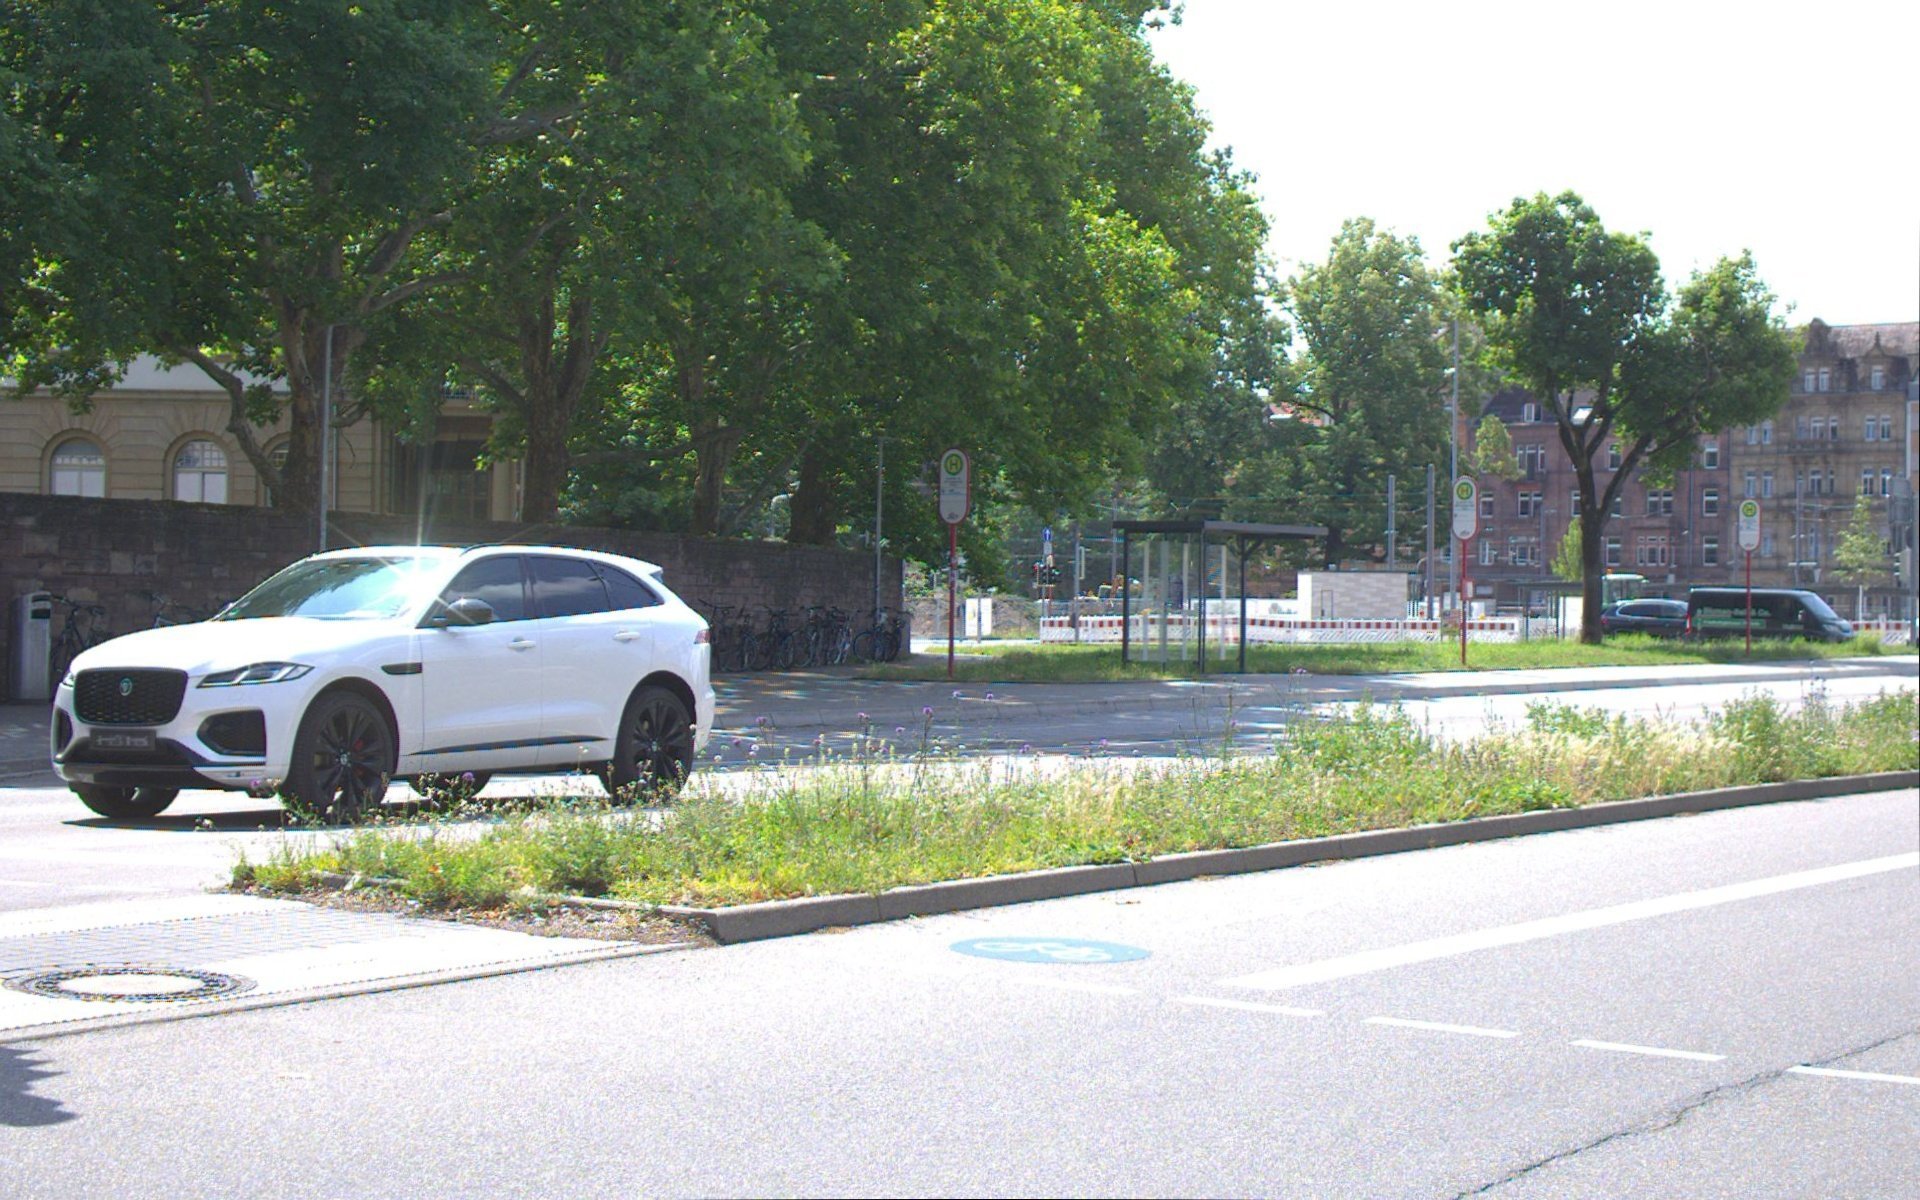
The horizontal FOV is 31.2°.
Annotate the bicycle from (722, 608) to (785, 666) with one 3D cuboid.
[{"bbox_3d":[-3.481,0.618,57.977,0.544,0.948,1.664,1,0,15],"label":"bicycle"}]

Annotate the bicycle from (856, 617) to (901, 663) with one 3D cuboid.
[{"bbox_3d":[-1.662,0.817,69.999,0.544,0.899,1.664,1,0,12],"label":"bicycle"}]

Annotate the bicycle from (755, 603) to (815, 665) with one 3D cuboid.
[{"bbox_3d":[-3.027,0.587,59.609,0.544,1.048,1.623,1,0,15],"label":"bicycle"}]

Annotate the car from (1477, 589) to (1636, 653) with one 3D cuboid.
[{"bbox_3d":[19.470,0.689,112.227,4.636,2.007,2.096,1,-1,28],"label":"car"}]

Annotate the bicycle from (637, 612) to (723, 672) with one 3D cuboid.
[{"bbox_3d":[-4.339,0.643,53.383,0.502,0.899,1.663,1,0,29],"label":"bicycle"}]

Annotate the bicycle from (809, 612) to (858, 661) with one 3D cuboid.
[{"bbox_3d":[-2.378,0.676,64.695,0.544,0.899,1.664,1,0,12],"label":"bicycle"}]

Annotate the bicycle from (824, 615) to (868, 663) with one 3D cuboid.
[{"bbox_3d":[-2.198,0.747,66.475,0.452,0.899,1.793,1,0,11],"label":"bicycle"}]

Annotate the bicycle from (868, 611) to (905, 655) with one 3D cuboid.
[{"bbox_3d":[-1.536,0.687,72.084,0.544,0.899,1.665,1,0,7],"label":"bicycle"}]

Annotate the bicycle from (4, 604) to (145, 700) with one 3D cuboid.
[{"bbox_3d":[-9.624,0.554,37.418,0.481,1.004,1.799,1,0,23],"label":"bicycle"}]

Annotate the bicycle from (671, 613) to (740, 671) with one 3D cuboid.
[{"bbox_3d":[-4.084,0.664,55.284,0.544,0.899,1.664,1,0,17],"label":"bicycle"}]

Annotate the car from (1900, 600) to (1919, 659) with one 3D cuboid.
[{"bbox_3d":[31.443,0.954,106.019,4.364,1.788,1.997,1,-1,28],"label":"car"}]

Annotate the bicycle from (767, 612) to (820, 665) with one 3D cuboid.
[{"bbox_3d":[-2.968,0.680,61.322,0.544,0.899,1.664,1,0,12],"label":"bicycle"}]

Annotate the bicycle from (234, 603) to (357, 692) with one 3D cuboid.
[{"bbox_3d":[-8.000,0.559,41.434,0.544,1.044,1.894,1,0,20],"label":"bicycle"}]

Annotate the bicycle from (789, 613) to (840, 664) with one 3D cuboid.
[{"bbox_3d":[-2.659,0.706,63.021,0.544,0.899,1.664,1,0,12],"label":"bicycle"}]

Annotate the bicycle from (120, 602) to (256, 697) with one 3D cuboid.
[{"bbox_3d":[-8.835,0.554,39.419,0.544,1.044,1.948,1,0,20],"label":"bicycle"}]

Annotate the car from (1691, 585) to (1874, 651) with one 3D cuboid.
[{"bbox_3d":[24.809,0.541,103.730,5.016,1.872,1.926,1,0,29],"label":"car"}]

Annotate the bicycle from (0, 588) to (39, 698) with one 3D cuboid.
[{"bbox_3d":[-10.255,0.451,35.809,0.432,1.139,1.593,1,0,20],"label":"bicycle"}]

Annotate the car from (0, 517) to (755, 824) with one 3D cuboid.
[{"bbox_3d":[-3.527,0.373,21.147,2.075,1.661,4.766,1,0,33],"label":"car"}]
